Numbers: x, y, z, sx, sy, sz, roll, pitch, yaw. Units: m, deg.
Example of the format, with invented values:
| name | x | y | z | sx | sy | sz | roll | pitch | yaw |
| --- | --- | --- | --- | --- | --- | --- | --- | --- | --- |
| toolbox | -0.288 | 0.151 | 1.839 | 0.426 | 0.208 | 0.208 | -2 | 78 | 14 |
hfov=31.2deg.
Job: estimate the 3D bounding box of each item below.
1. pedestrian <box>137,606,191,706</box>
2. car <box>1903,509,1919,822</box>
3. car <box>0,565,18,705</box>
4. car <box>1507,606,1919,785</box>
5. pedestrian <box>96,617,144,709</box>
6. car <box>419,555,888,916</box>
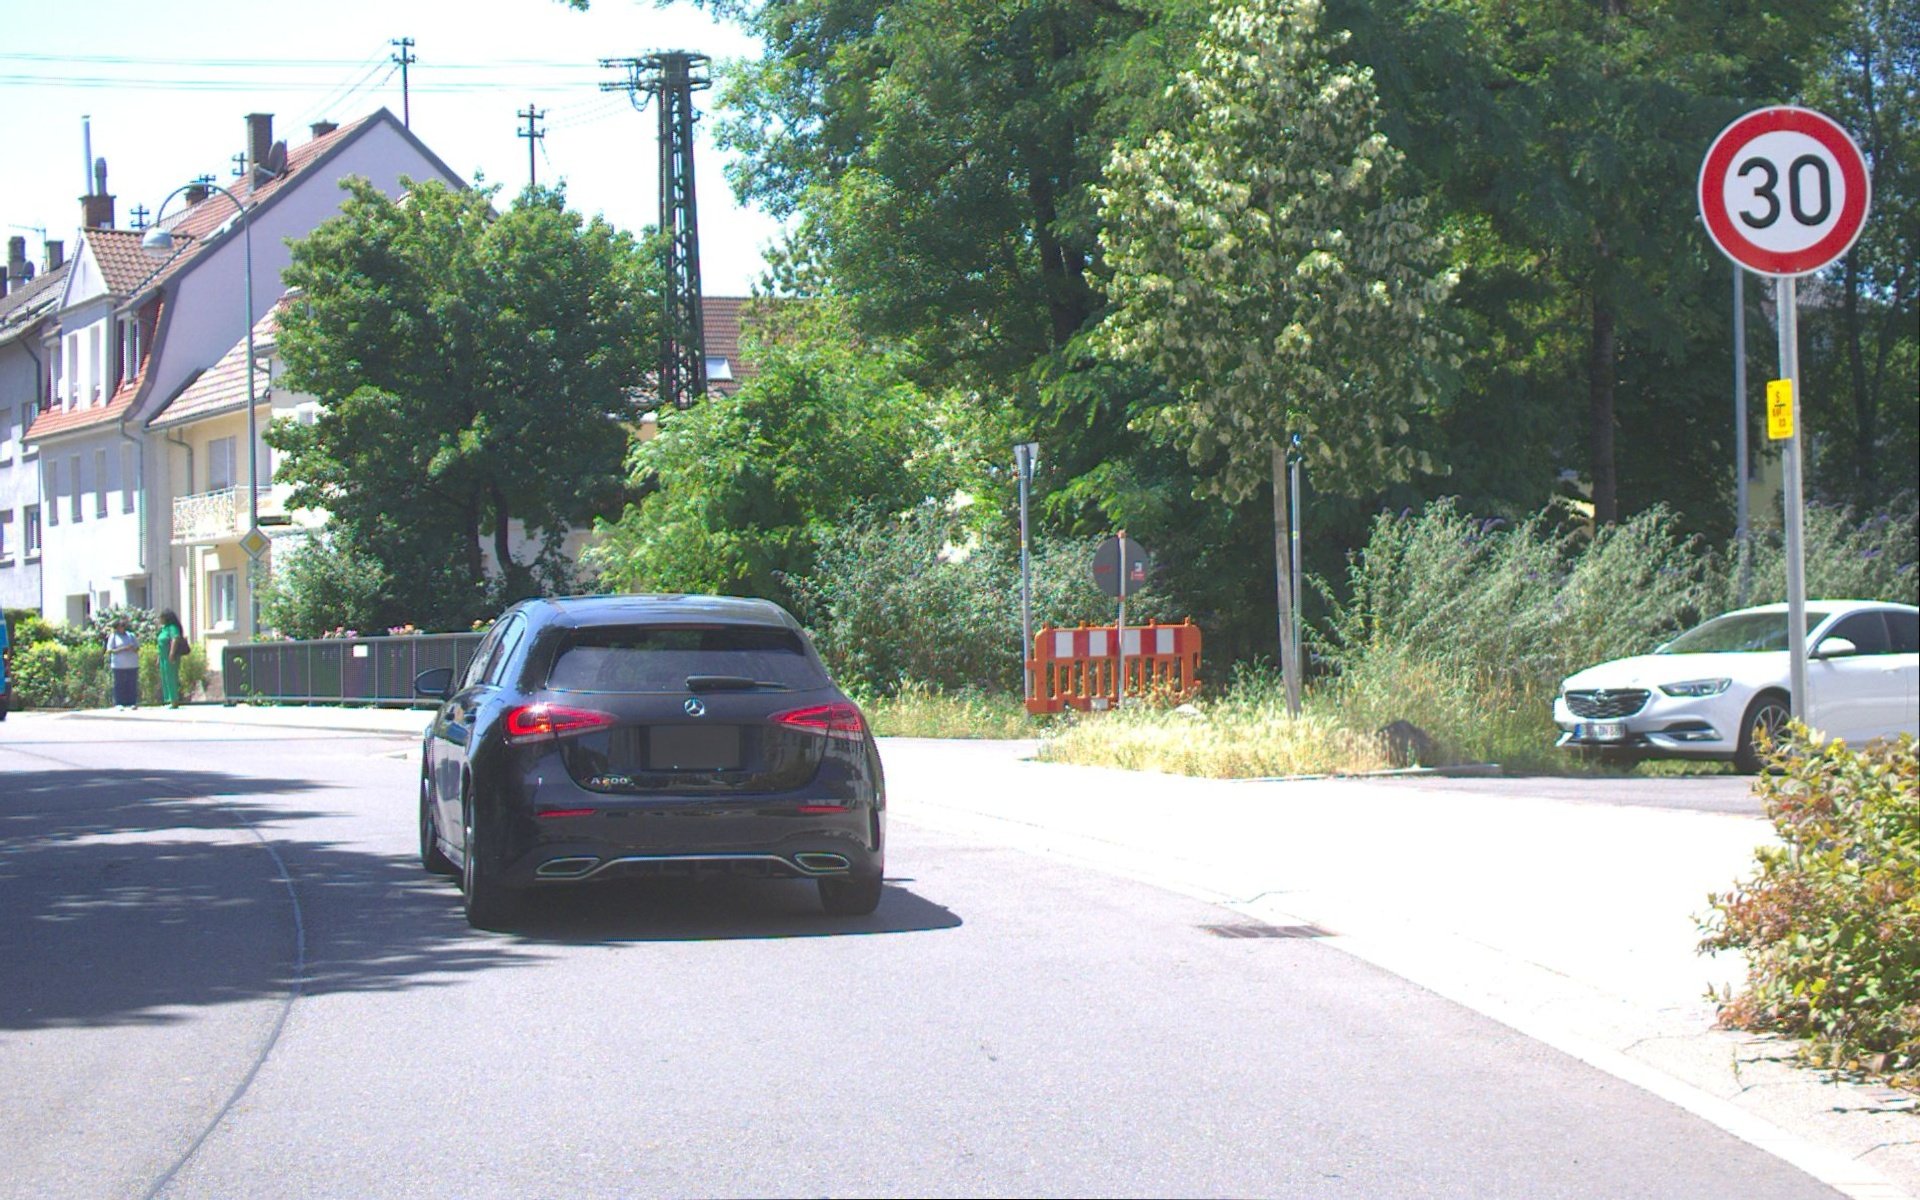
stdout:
| name | x | y | z | sx | sy | sz | roll | pitch | yaw |
| --- | --- | --- | --- | --- | --- | --- | --- | --- | --- |
| pedestrian | -14.045 | 0.985 | 60.644 | 0.661 | 1.735 | 0.701 | 0 | -1 | -42 |
| car | 7.287 | 0.370 | 18.166 | 4.075 | 1.710 | 1.856 | 1 | -1 | -1 |
| car | -18.959 | 0.680 | 63.771 | 2.132 | 2.533 | 4.650 | -1 | -1 | -24 |
| car | 6.652 | 0.764 | 28.177 | 4.189 | 1.345 | 1.860 | 1 | 0 | -36 |
| pedestrian | -14.971 | 1.119 | 61.266 | 0.614 | 1.607 | 0.838 | 0 | -1 | -29 |
| car | -1.559 | 0.637 | 16.080 | 1.827 | 1.437 | 4.000 | -1 | -2 | -10 |
